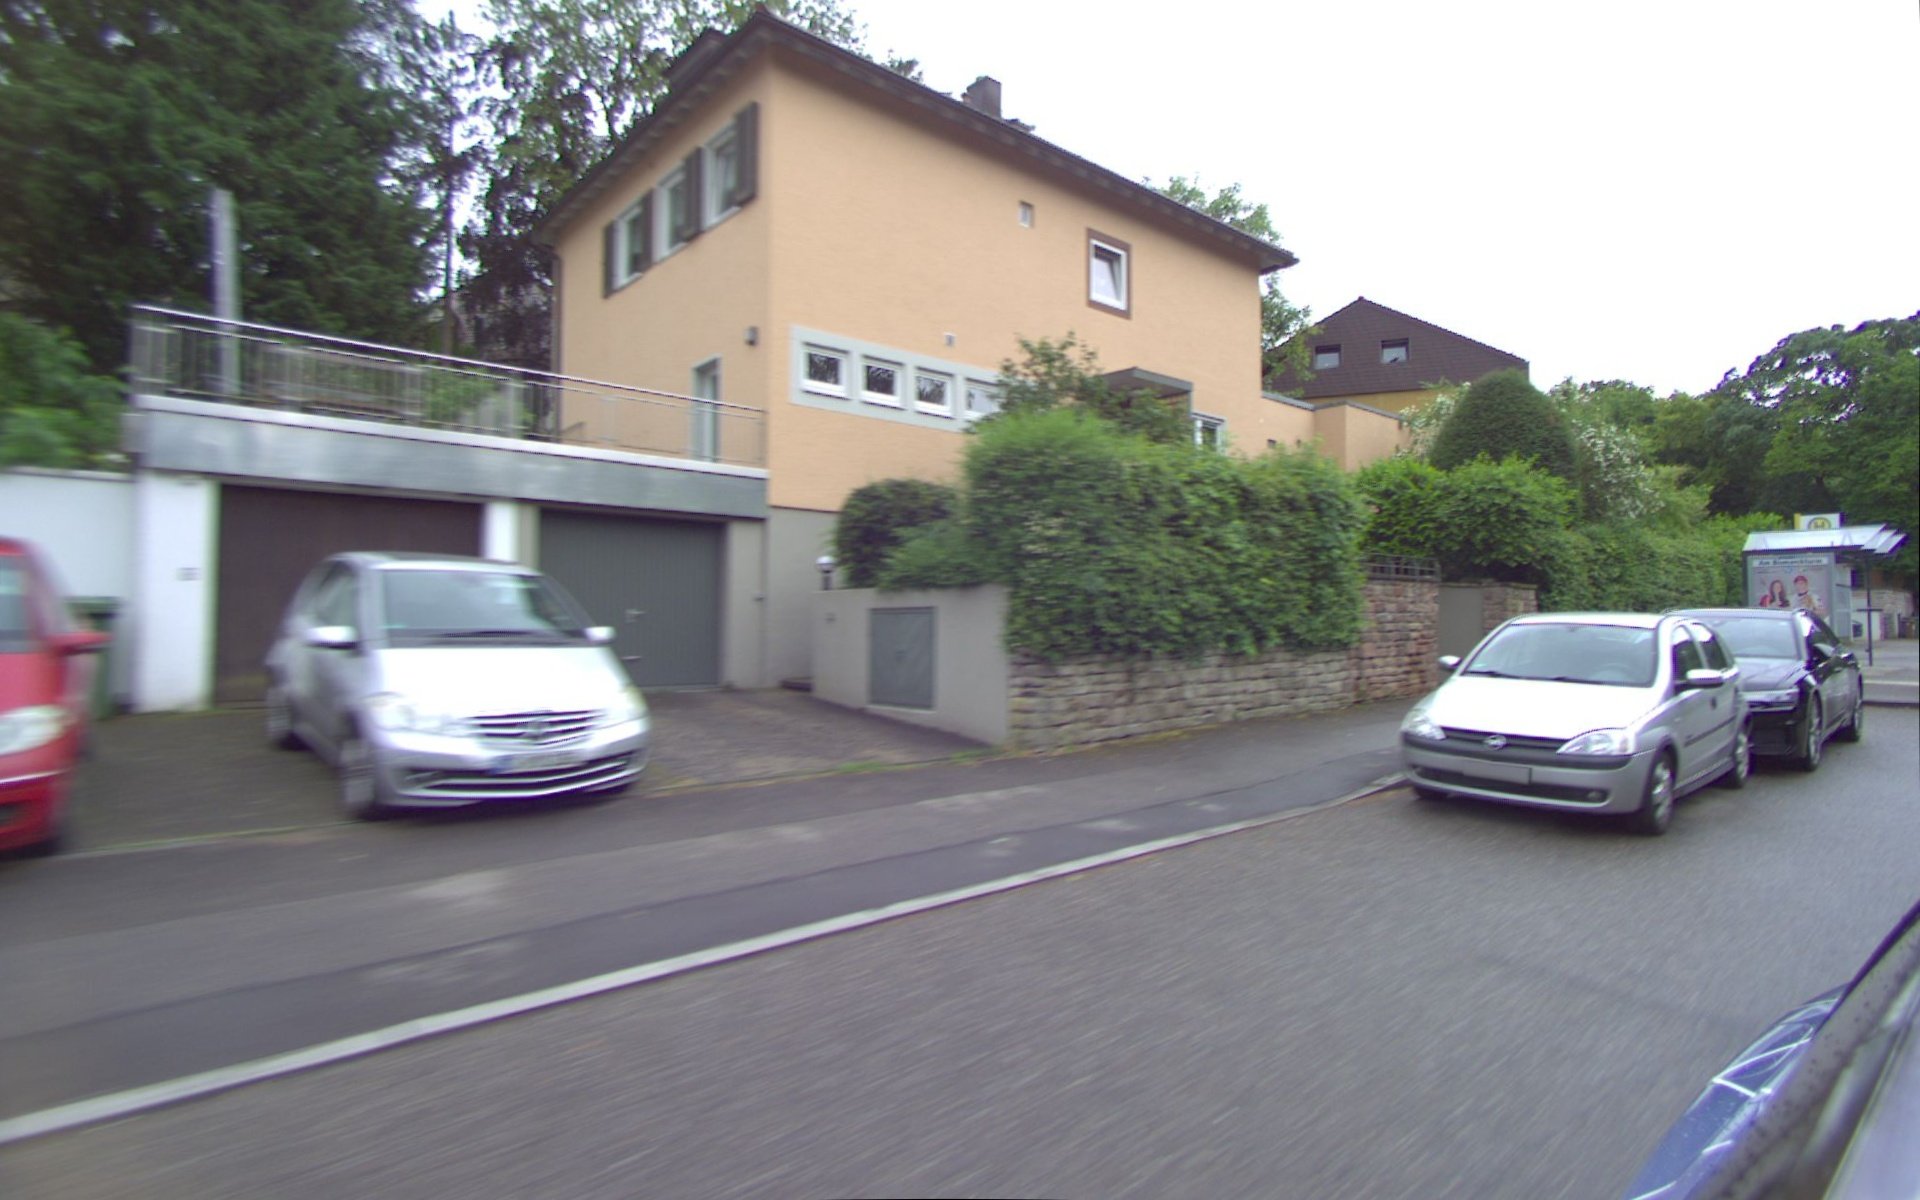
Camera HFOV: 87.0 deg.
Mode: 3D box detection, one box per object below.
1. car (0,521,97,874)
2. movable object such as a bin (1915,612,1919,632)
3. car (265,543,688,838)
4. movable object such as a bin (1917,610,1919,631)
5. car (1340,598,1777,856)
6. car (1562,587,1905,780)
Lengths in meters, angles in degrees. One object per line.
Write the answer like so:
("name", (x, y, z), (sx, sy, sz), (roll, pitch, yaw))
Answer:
("car", (-5.947, 0.385, 5.531), (1.849, 1.585, 3.665), (0, 2, -40))
("movable object such as a bin", (47.106, 1.062, 49.429), (0.540, 0.949, 0.569), (0, -3, -40))
("car", (-3.718, 0.422, 7.459), (1.797, 1.555, 3.663), (1, 3, -43))
("movable object such as a bin", (47.700, 1.013, 49.855), (0.647, 1.017, 0.666), (0, -3, -40))
("car", (4.791, 0.726, 7.857), (4.033, 1.415, 1.815), (-1, 1, -42))
("car", (8.223, 0.677, 10.600), (4.547, 1.567, 1.834), (-1, 1, -39))
